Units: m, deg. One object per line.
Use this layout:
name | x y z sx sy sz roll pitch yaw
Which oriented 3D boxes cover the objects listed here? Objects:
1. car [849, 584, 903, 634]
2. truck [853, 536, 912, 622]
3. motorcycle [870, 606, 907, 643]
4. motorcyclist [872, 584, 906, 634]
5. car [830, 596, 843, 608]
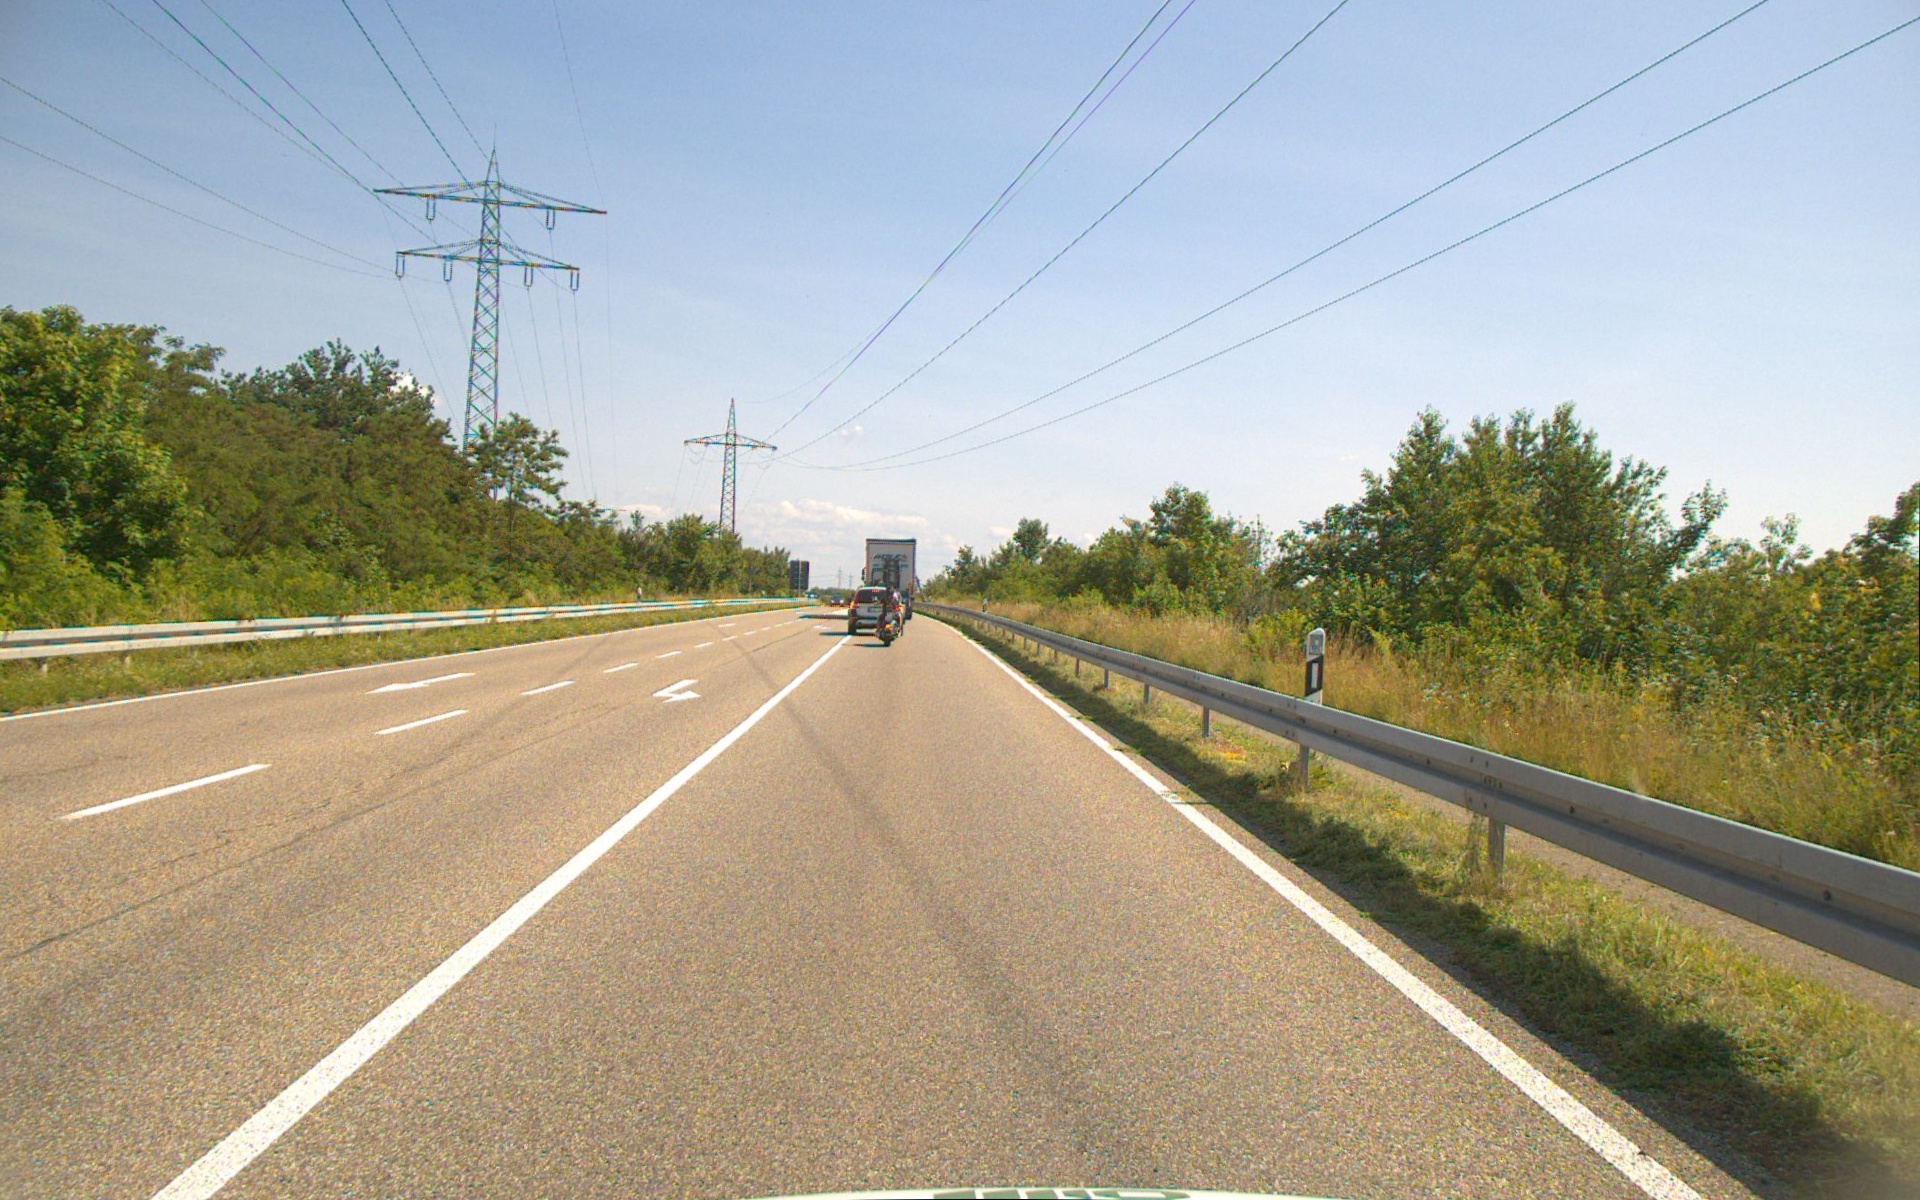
car | -2.781 0.287 54.568 1.667 1.563 3.497 1 0 -3
truck | -4.220 -1.099 91.036 2.908 4.260 14.815 1 0 -2
motorcycle | -1.904 0.639 43.919 0.842 0.931 2.225 2 0 -5
motorcyclist | -1.897 0.238 43.981 0.821 1.303 0.918 1 0 -6
car | -17.031 0.267 227.867 1.693 1.517 4.419 1 0 -4
